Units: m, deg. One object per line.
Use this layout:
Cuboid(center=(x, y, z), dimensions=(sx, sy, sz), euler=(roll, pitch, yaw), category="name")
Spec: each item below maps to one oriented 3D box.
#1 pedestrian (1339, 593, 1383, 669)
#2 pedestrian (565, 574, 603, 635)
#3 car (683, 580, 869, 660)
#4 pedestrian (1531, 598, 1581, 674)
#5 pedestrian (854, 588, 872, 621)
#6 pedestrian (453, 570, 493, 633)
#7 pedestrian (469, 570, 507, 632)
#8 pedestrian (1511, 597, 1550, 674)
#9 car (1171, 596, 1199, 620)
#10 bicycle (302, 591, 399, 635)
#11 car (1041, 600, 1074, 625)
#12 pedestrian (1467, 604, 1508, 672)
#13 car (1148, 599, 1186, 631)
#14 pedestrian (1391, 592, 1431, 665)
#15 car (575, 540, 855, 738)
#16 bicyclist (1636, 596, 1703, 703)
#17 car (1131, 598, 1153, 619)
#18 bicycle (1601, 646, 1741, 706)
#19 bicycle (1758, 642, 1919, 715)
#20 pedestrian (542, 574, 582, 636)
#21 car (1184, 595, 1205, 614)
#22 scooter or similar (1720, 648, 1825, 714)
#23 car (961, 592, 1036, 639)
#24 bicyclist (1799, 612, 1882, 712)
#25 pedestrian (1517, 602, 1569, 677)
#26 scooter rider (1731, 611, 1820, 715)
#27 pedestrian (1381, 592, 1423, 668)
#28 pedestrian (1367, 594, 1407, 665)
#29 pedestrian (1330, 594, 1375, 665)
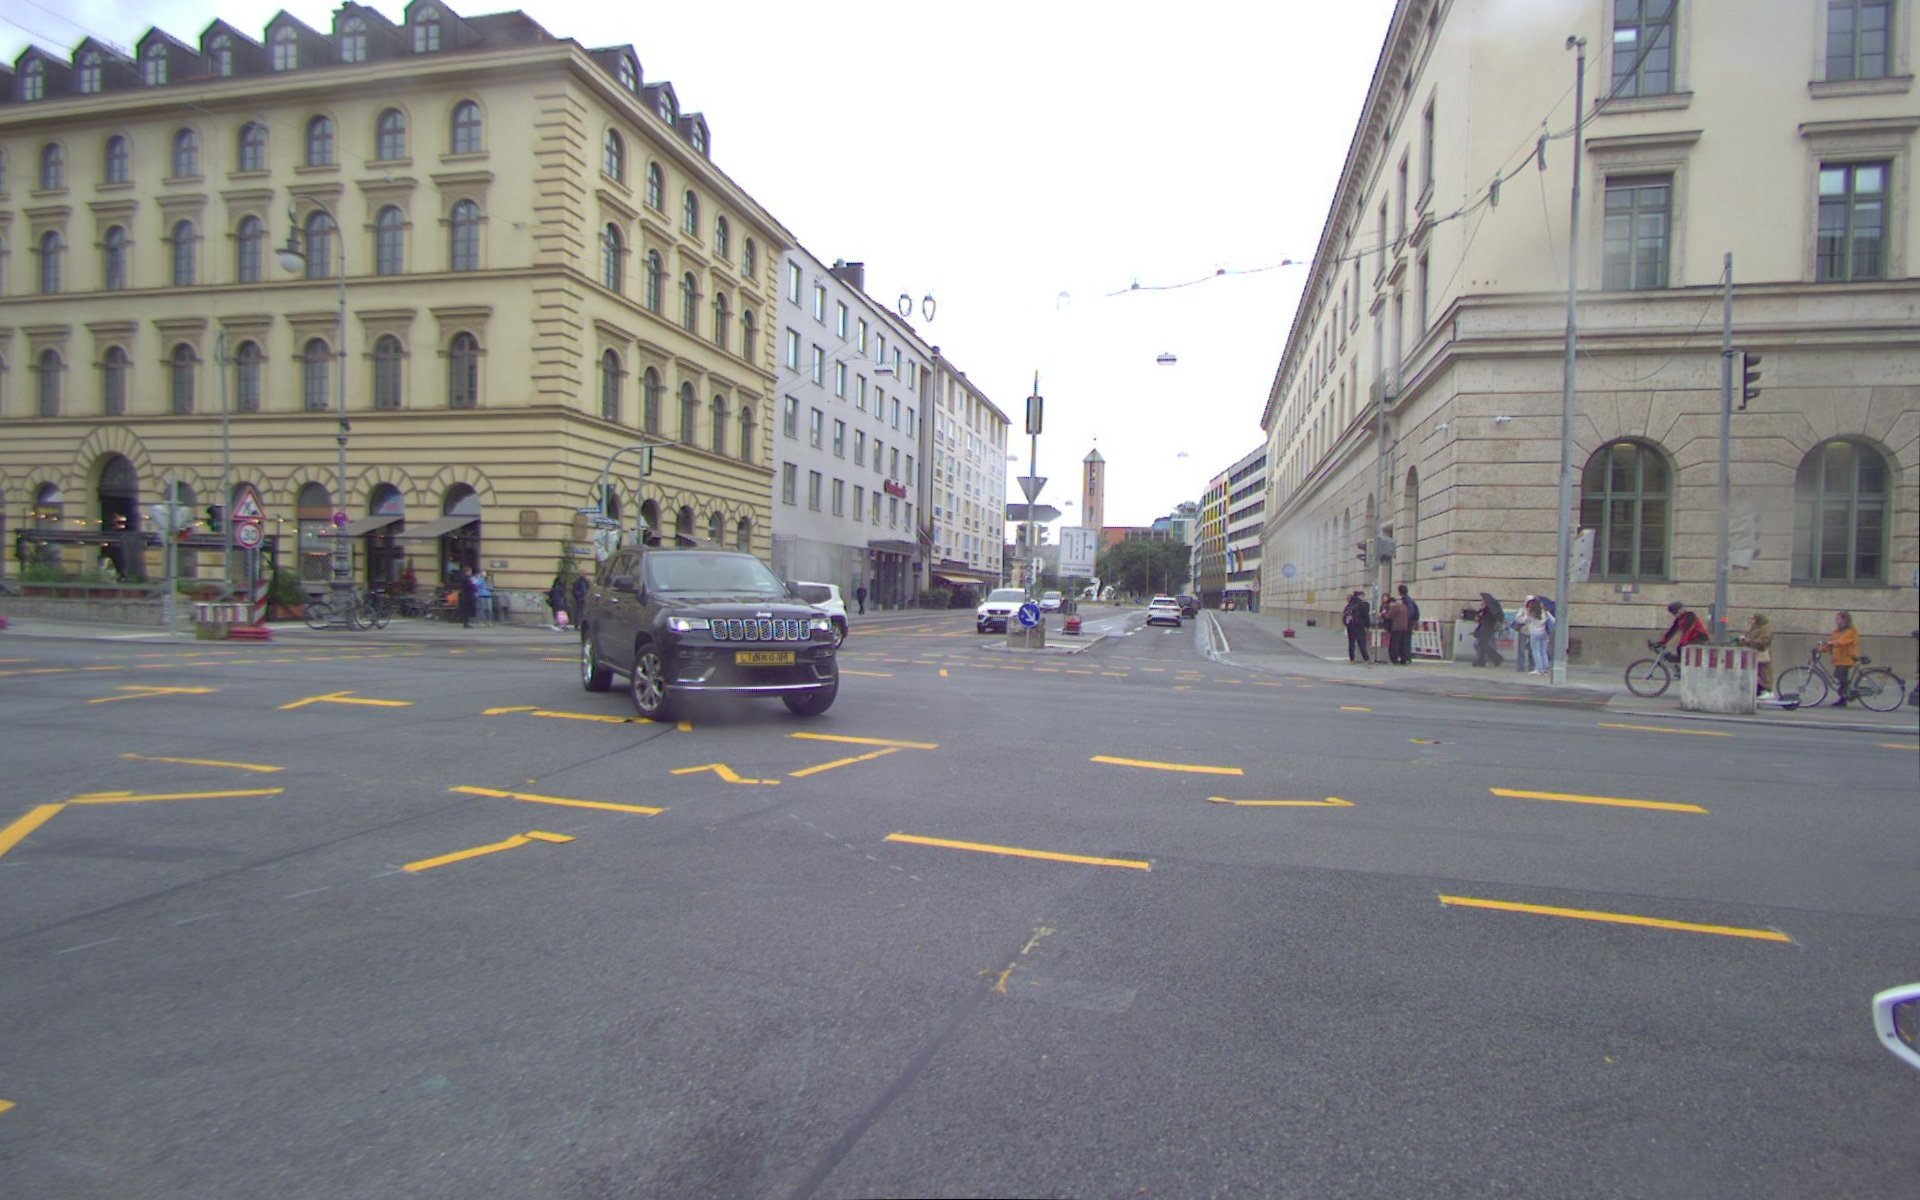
Cuboid(center=(9.749, 0.747, 24.397), dimensions=(0.805, 1.779, 0.678), euler=(4, 2, 30), category="pedestrian")
Cuboid(center=(-11.358, 0.134, 30.370), dimensions=(0.724, 1.795, 0.737), euler=(4, 2, 34), category="pedestrian")
Cuboid(center=(-4.284, 0.438, 23.938), dimensions=(1.771, 1.700, 4.213), euler=(2, 1, 39), category="car")
Cuboid(center=(13.986, 0.829, 23.591), dimensions=(0.703, 1.716, 0.820), euler=(3, 1, 15), category="pedestrian")
Cuboid(center=(-5.443, 0.225, 56.335), dimensions=(0.724, 1.795, 0.736), euler=(3, 1, 13), category="pedestrian")
Cuboid(center=(-14.223, 0.040, 29.337), dimensions=(0.721, 1.795, 0.739), euler=(3, 1, 3), category="pedestrian")
Cuboid(center=(-14.137, 0.032, 30.094), dimensions=(0.721, 1.795, 0.739), euler=(3, 1, 3), category="pedestrian")
Cuboid(center=(13.028, 0.800, 22.932), dimensions=(0.606, 1.694, 0.542), euler=(3, 1, 21), category="pedestrian")
Cuboid(center=(16.207, 0.580, 72.351), dimensions=(1.833, 1.623, 3.852), euler=(2, 1, 13), category="car")
Cuboid(center=(-16.475, 0.340, 27.187), dimensions=(2.160, 1.114, 0.599), euler=(2, 1, -11), category="bicycle")
Cuboid(center=(7.446, 0.887, 76.326), dimensions=(1.959, 1.758, 4.235), euler=(2, 1, 13), category="car")
Cuboid(center=(12.620, 0.900, 24.046), dimensions=(0.654, 1.548, 0.820), euler=(3, 1, 17), category="pedestrian")
Cuboid(center=(10.799, 0.752, 52.212), dimensions=(1.782, 1.443, 4.454), euler=(4, 1, 12), category="car")
Cuboid(center=(11.269, 0.704, 25.111), dimensions=(0.577, 1.779, 0.815), euler=(4, 2, 44), category="pedestrian")
Cuboid(center=(-3.000, 0.313, 11.418), dimensions=(1.977, 1.758, 4.550), euler=(1, 1, -29), category="car")
Cuboid(center=(12.980, 0.884, 18.393), dimensions=(0.731, 1.867, 0.661), euler=(3, 1, 16), category="bicyclist")
Cuboid(center=(18.548, 0.860, 102.188), dimensions=(1.959, 2.040, 4.002), euler=(2, 1, 13), category="car")
Cuboid(center=(12.970, 1.377, 18.384), dimensions=(1.939, 0.891, 0.662), euler=(3, 1, 16), category="bicycle")
Cuboid(center=(15.276, 1.345, 17.511), dimensions=(1.925, 1.054, 0.795), euler=(3, 1, 16), category="bicycle")
Cuboid(center=(-11.774, 0.145, 29.740), dimensions=(0.724, 1.795, 0.758), euler=(4, 2, 34), category="pedestrian")
Cuboid(center=(21.654, 0.406, 92.712), dimensions=(1.833, 1.623, 3.852), euler=(2, 1, 13), category="car")
Cuboid(center=(13.705, 1.349, 16.965), dimensions=(1.190, 0.978, 0.588), euler=(3, 1, 15), category="scooter or similar")
Cuboid(center=(1.485, 0.522, 36.829), dimensions=(1.959, 1.544, 4.235), euler=(2, 1, 13), category="car")
Cuboid(center=(15.316, 1.056, 17.499), dimensions=(0.731, 1.636, 0.795), euler=(3, 1, 16), category="bicyclist")
Cuboid(center=(12.907, 0.861, 22.264), dimensions=(0.804, 1.578, 0.667), euler=(3, 1, 21), category="pedestrian")
Cuboid(center=(13.744, 1.045, 16.950), dimensions=(0.916, 1.644, 0.592), euler=(3, 1, 15), category="scooter rider")
Cuboid(center=(10.721, 0.728, 24.367), dimensions=(0.577, 1.779, 0.815), euler=(4, 2, 44), category="pedestrian")
Cuboid(center=(11.115, 0.746, 26.154), dimensions=(0.805, 1.779, 0.585), euler=(4, 1, 28), category="pedestrian")
Cuboid(center=(10.095, 0.756, 25.832), dimensions=(0.807, 1.779, 0.583), euler=(3, 1, -17), category="pedestrian")
